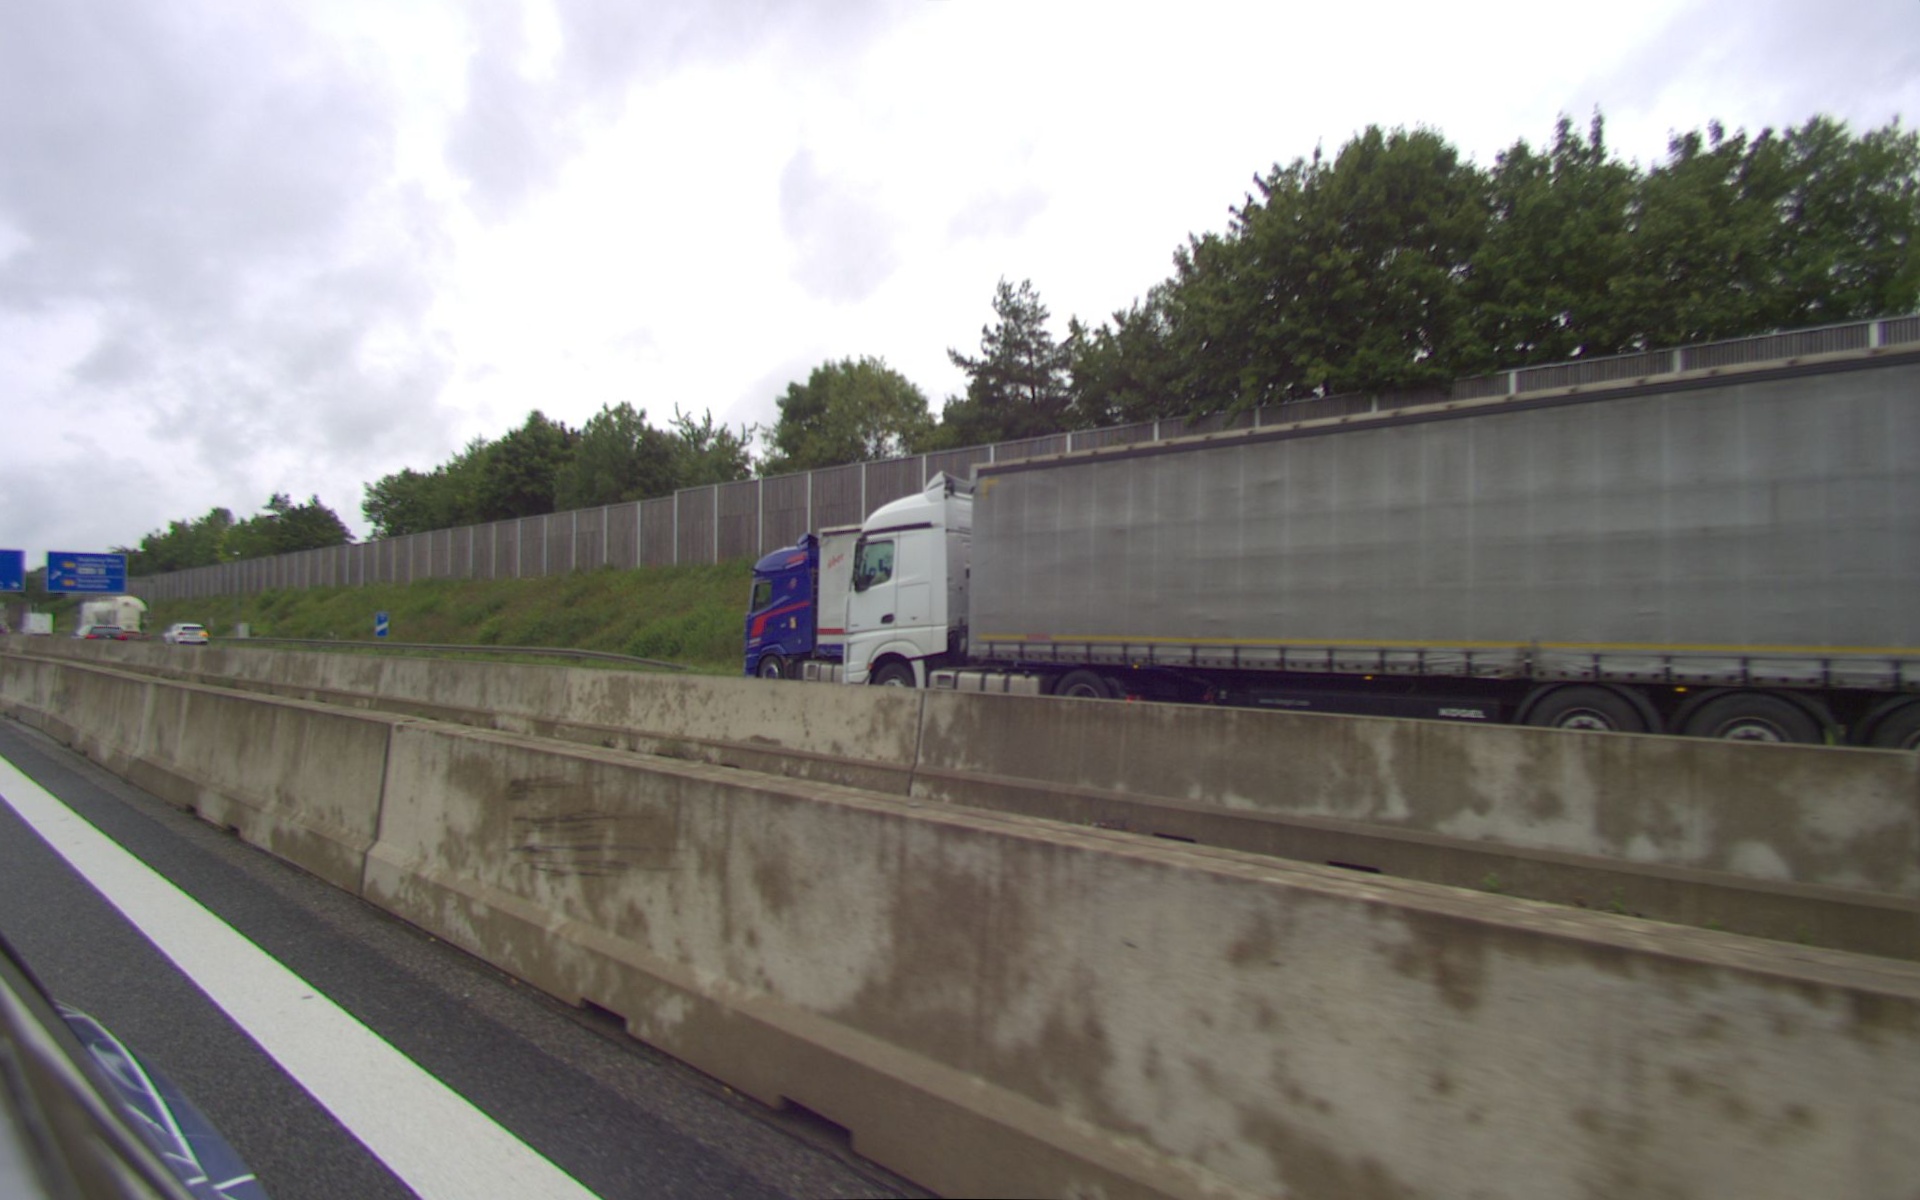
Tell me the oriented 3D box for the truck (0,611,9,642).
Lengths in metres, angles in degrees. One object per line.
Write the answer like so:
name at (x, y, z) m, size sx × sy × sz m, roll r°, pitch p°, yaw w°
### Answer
truck at (-138.391, 3.814, 144.012) m, size 11.138 × 4.274 × 3.284 m, roll -2°, pitch 0°, yaw 41°

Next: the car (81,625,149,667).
car at (-42.748, 2.280, 51.157) m, size 4.767 × 2.029 × 1.972 m, roll -1°, pitch -2°, yaw 42°

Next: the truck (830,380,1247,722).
truck at (1.037, -0.621, 15.947) m, size 6.094 × 4.357 × 2.750 m, roll -1°, pitch 0°, yaw 41°

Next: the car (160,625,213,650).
car at (-53.567, 2.538, 70.022) m, size 4.958 × 1.656 × 1.973 m, roll -1°, pitch -2°, yaw 41°

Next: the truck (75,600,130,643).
truck at (-75.836, 1.933, 89.438) m, size 5.855 × 3.585 × 2.672 m, roll -1°, pitch -4°, yaw 41°

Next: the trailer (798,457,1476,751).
trailer at (2.460, 0.137, 20.919) m, size 14.331 × 4.358 × 3.057 m, roll -1°, pitch -2°, yaw 41°

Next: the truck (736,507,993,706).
truck at (-2.496, 0.186, 25.281) m, size 6.095 × 4.358 × 3.057 m, roll -1°, pitch -2°, yaw 41°

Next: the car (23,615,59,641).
car at (-106.982, 3.268, 117.755) m, size 6.685 × 2.993 × 2.339 m, roll -1°, pitch -2°, yaw 41°

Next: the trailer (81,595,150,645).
trailer at (-71.740, 1.710, 85.827) m, size 10.640 × 3.953 × 2.683 m, roll -1°, pitch -4°, yaw 41°

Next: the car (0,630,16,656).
car at (-77.245, 3.442, 81.012) m, size 4.766 × 2.029 × 1.973 m, roll -1°, pitch -2°, yaw 41°

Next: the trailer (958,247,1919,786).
trailer at (6.149, -0.666, 11.443) m, size 14.017 × 4.357 × 2.750 m, roll -1°, pitch 0°, yaw 41°
